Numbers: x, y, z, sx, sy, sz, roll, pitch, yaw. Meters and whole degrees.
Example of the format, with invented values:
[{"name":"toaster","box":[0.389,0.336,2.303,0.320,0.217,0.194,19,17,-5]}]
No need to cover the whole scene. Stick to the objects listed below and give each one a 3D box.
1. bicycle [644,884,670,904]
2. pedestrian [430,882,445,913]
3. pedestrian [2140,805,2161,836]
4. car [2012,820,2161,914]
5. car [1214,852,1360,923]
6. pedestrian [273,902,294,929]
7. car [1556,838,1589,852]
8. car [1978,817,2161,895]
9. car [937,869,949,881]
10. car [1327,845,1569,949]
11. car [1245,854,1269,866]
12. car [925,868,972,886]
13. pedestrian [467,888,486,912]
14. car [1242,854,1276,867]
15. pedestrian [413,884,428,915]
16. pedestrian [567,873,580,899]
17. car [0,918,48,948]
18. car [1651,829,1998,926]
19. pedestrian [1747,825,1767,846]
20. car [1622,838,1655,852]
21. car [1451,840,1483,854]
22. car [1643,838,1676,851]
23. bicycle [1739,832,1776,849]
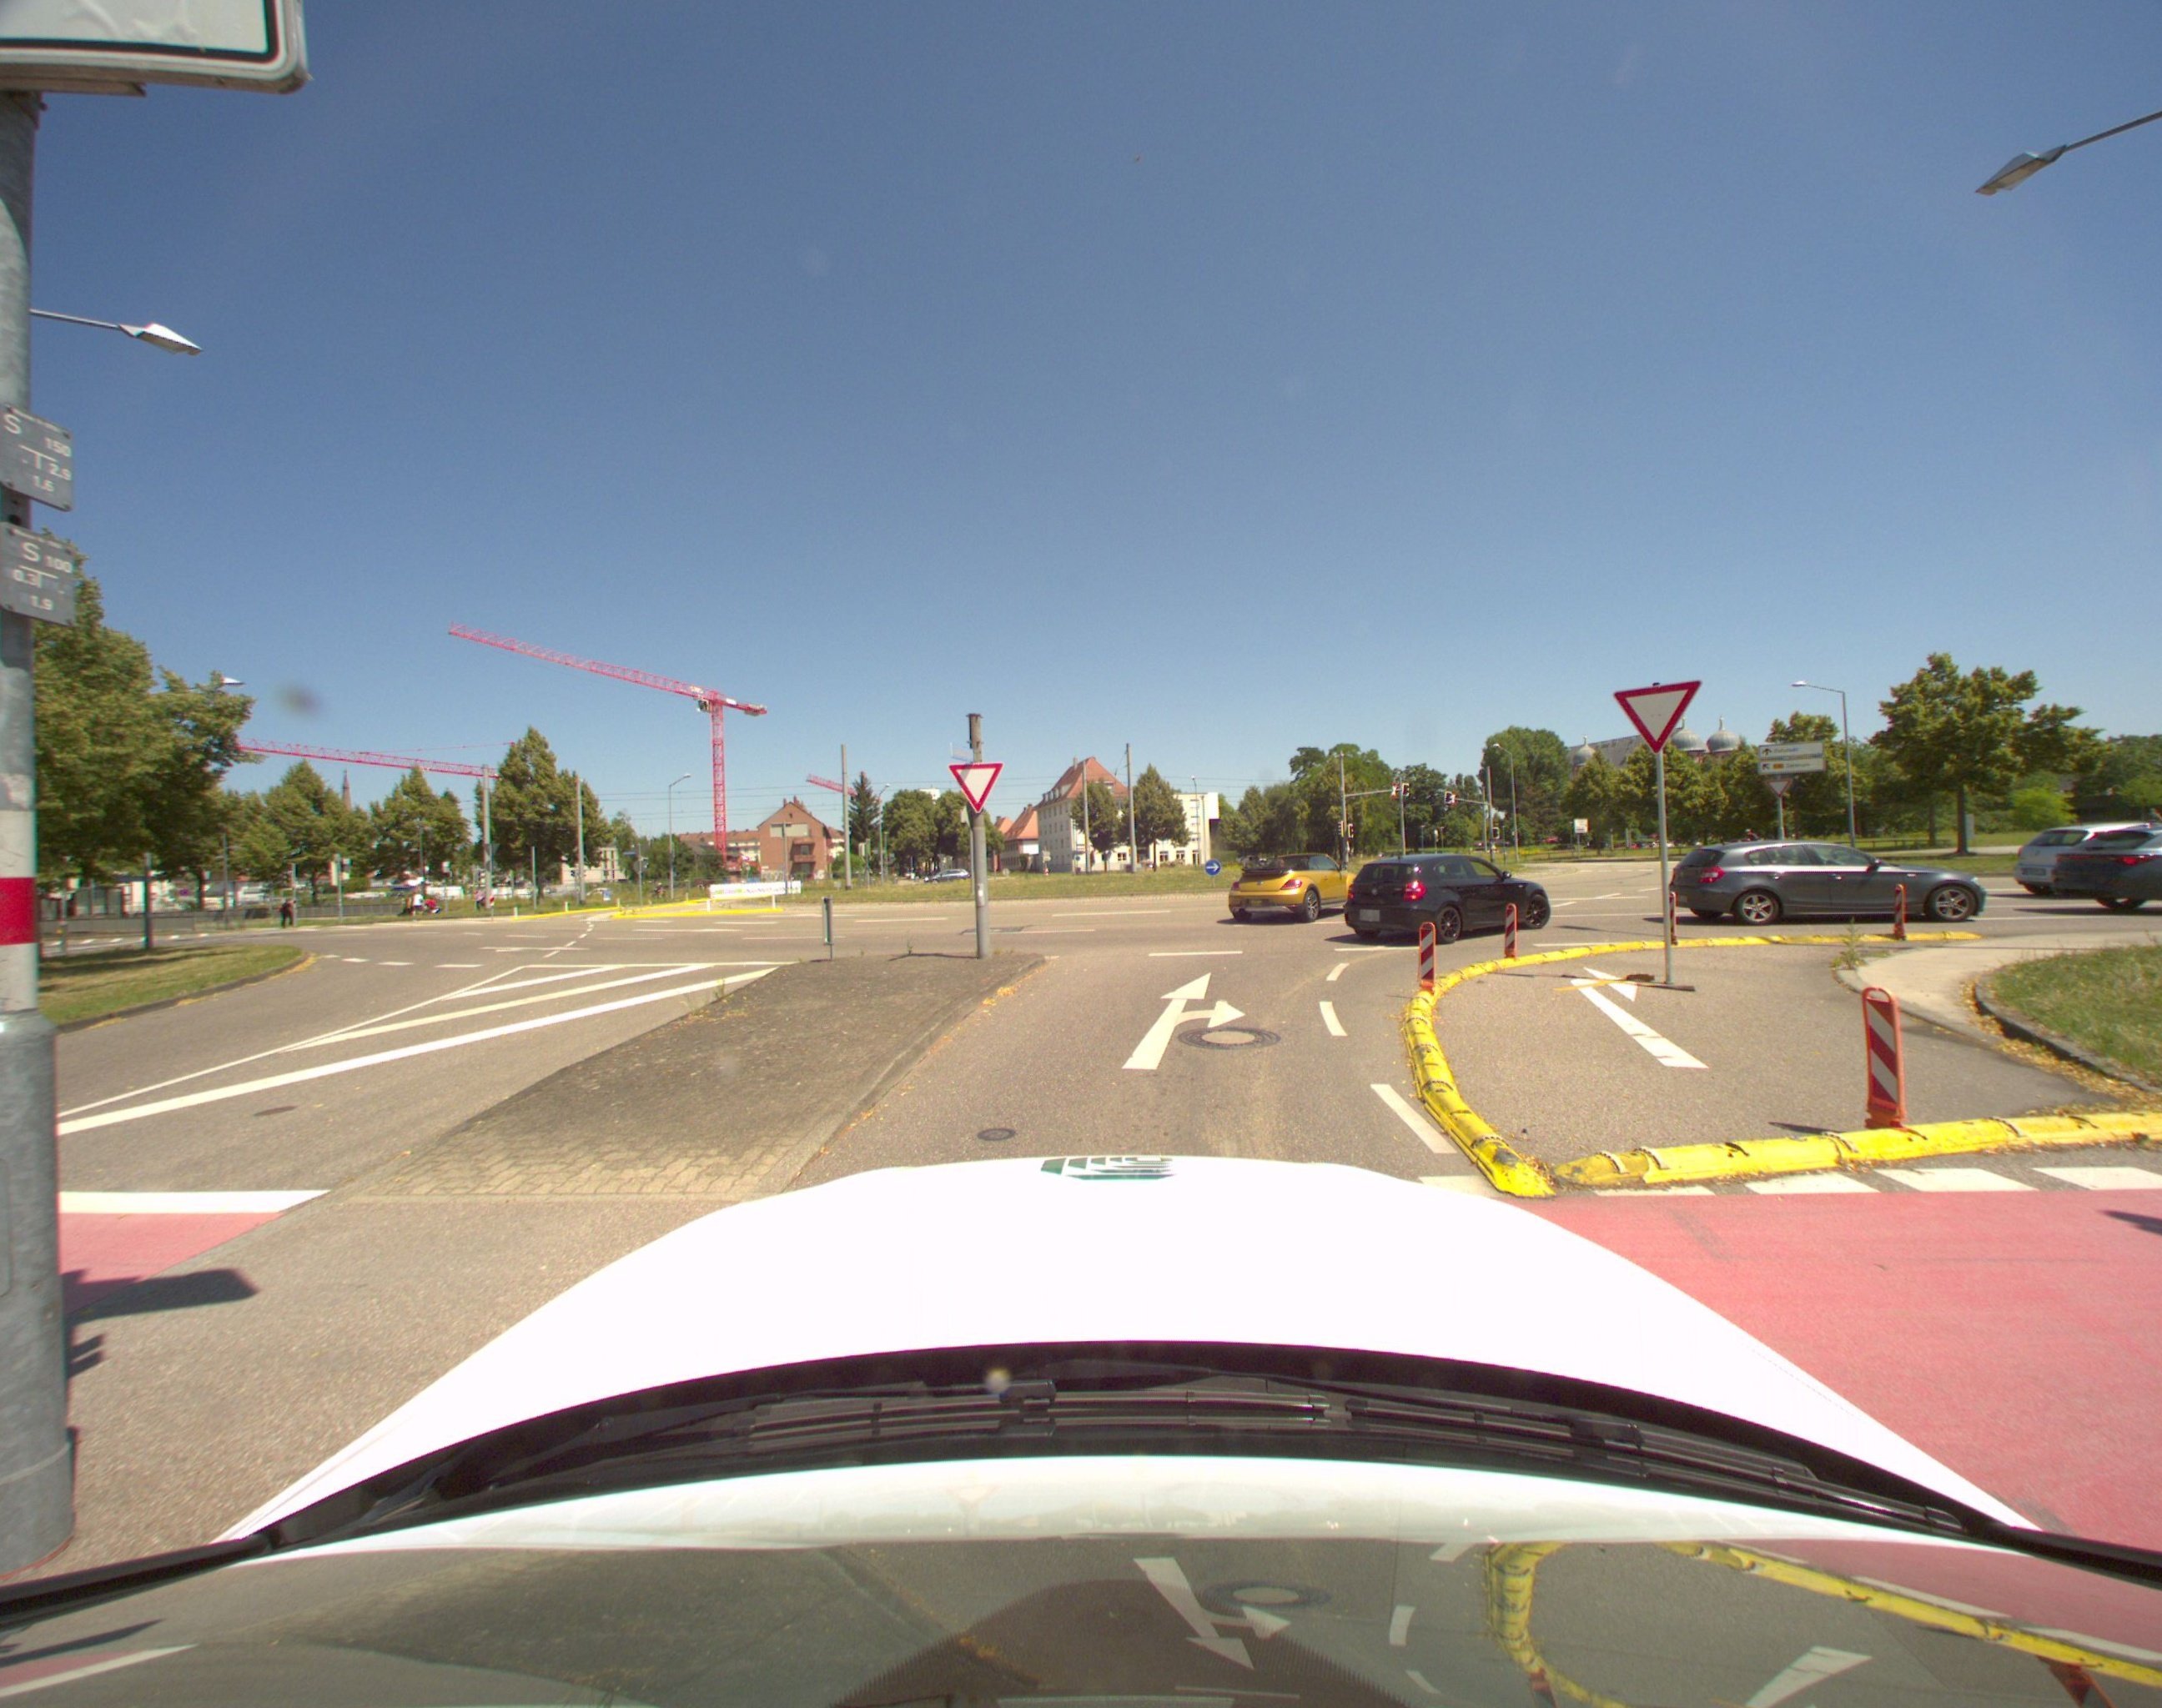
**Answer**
[{"name":"bicycle","box":[-36.562,3.448,70.238,0.553,1.685,2.097,-2,-1,24]},{"name":"pedestrian","box":[-41.759,2.812,52.822,0.631,1.934,0.640,-2,-1,-31]},{"name":"pedestrian","box":[61.932,-1.949,47.082,0.674,1.731,0.572,-1,-1,-14]},{"name":"car","box":[18.477,0.125,12.934,4.403,1.418,2.010,-3,-1,21]},{"name":"car","box":[4.710,0.689,18.298,1.808,1.403,3.685,-2,-1,38]},{"name":"pedestrian","box":[-44.407,3.432,45.356,0.539,1.406,0.598,-3,-1,6]},{"name":"car","box":[73.924,-1.356,122.533,3.949,2.014,2.012,-2,-2,42]},{"name":"car","box":[21.031,-0.001,16.132,3.951,1.422,1.792,-3,-1,23]},{"name":"car","box":[-24.377,3.678,143.858,1.993,2.014,3.986,-1,-1,-10]},{"name":"car","box":[6.357,0.646,14.022,4.013,1.440,1.785,-2,0,-30]},{"name":"car","box":[31.107,1.064,144.192,3.955,2.014,2.009,-1,-1,17]},{"name":"car","box":[-12.093,2.087,74.311,3.996,1.464,1.988,-1,-1,-17]},{"name":"pedestrian","box":[-43.588,3.312,58.693,0.773,1.640,0.764,-1,-1,15]},{"name":"car","box":[23.398,0.876,107.203,3.987,1.684,1.993,-1,-1,-10]},{"name":"pedestrian","box":[-42.182,2.886,52.029,0.631,1.934,0.640,-2,-1,-31]},{"name":"pedestrian","box":[-40.617,2.564,65.172,0.599,2.014,0.595,-1,-1,3]},{"name":"car","box":[-48.972,3.562,36.412,3.538,1.212,1.743,-1,-1,4]},{"name":"car","box":[12.527,0.397,14.019,4.039,1.403,1.759,-3,0,12]},{"name":"pedestrian","box":[47.656,-1.327,57.422,0.707,1.451,0.816,-1,-1,-8]},{"name":"car","box":[87.630,-1.450,128.038,3.949,2.014,2.012,-2,-2,42]},{"name":"car","box":[57.695,-1.024,121.711,3.949,2.014,2.012,-2,-2,42]},{"name":"car","box":[92.379,-1.493,130.070,2.010,2.014,3.952,0,-2,-41]},{"name":"bicycle","box":[47.681,-0.967,57.393,0.727,1.115,2.053,-1,-1,-7]}]
